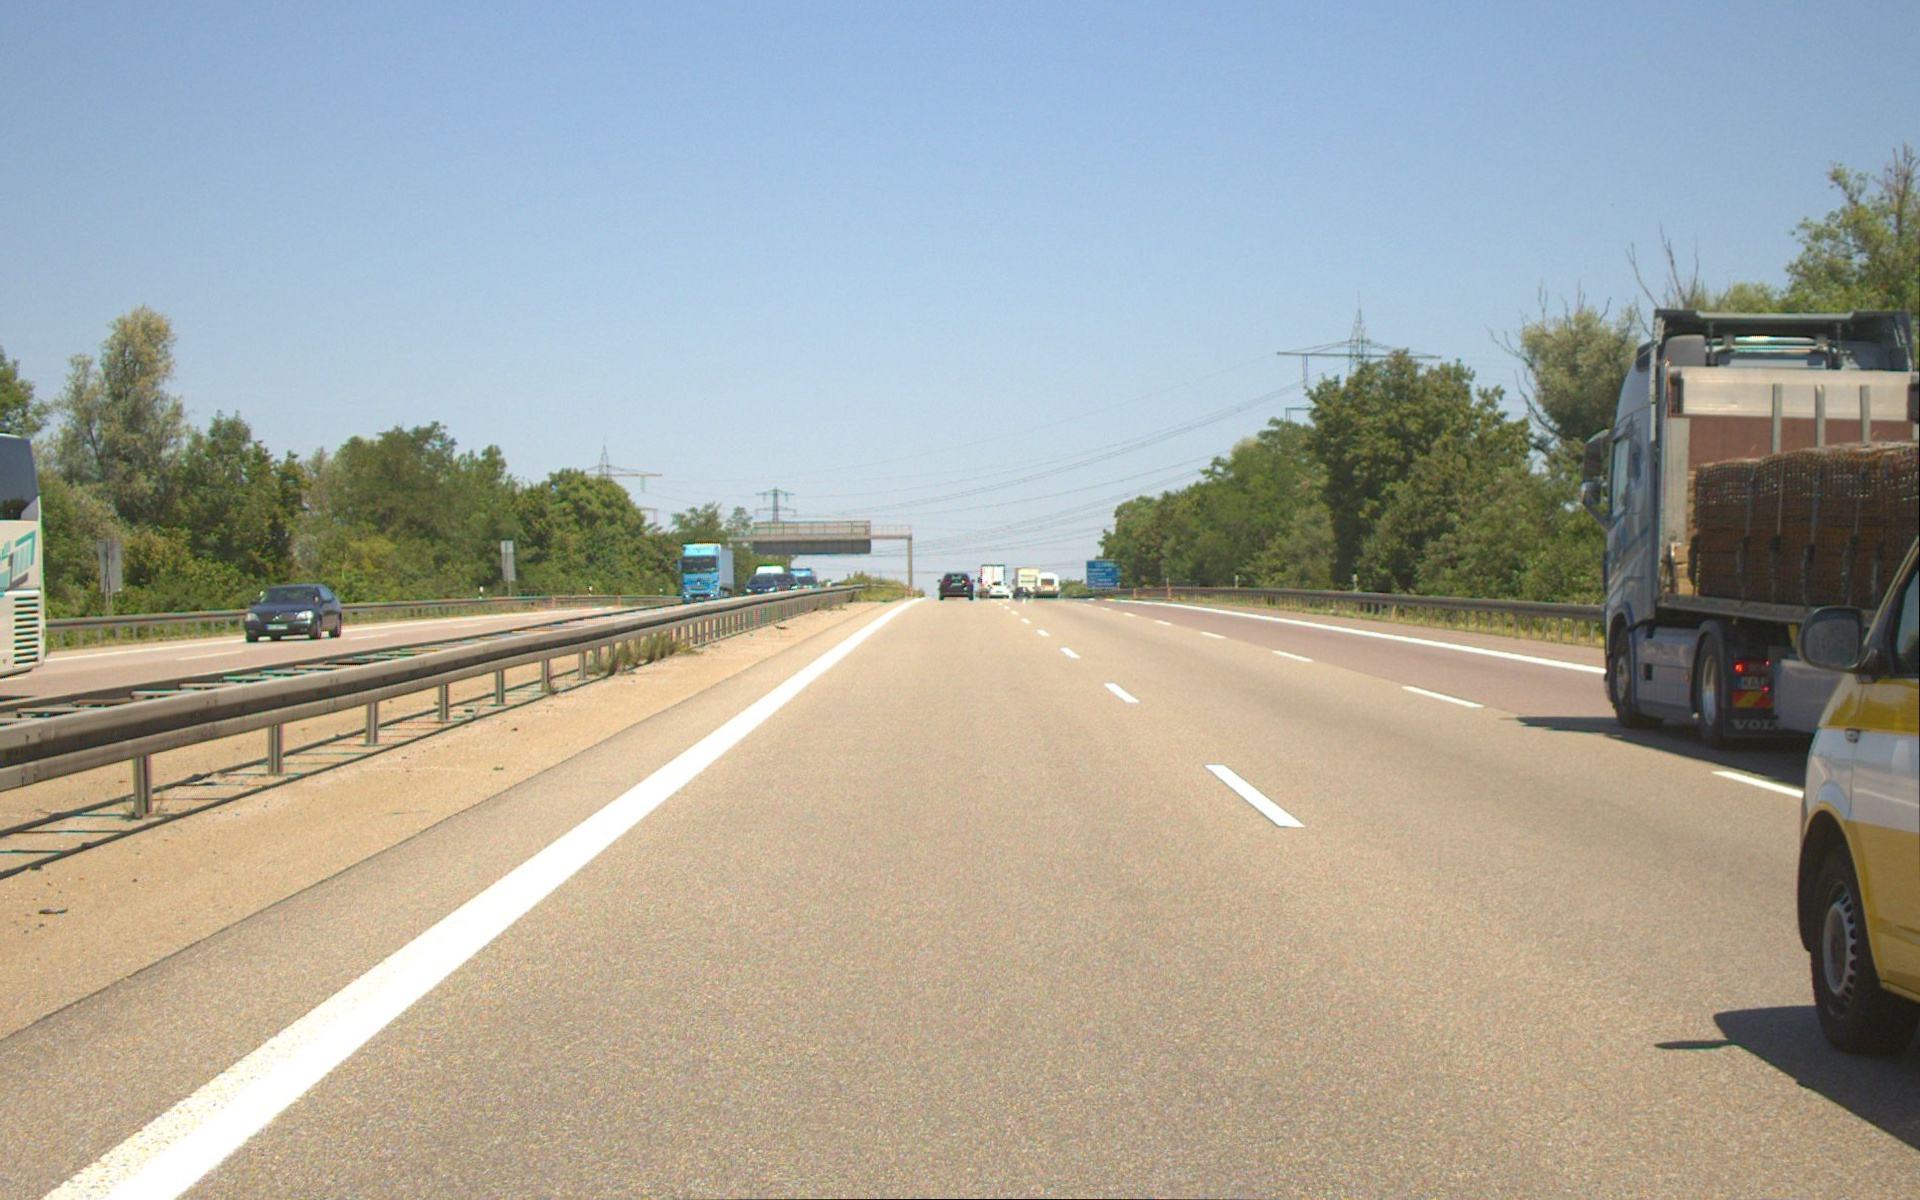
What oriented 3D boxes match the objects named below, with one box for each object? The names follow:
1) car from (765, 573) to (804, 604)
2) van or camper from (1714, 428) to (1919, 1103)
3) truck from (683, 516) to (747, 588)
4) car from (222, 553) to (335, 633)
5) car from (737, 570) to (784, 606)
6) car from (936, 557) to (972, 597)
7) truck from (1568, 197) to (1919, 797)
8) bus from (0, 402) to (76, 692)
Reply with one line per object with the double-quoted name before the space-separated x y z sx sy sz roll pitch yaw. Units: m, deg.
"car" -10.015 -0.667 196.696 1.993 1.684 4.408 -1 1 0
"van or camper" 3.711 0.479 9.730 1.993 1.903 4.971 1 1 0
"truck" -17.114 -3.294 240.901 3.225 4.704 16.860 -3 0 -1
"car" -17.596 -0.199 88.921 1.993 1.866 4.582 -4 1 -1
"car" -10.169 -0.615 175.397 1.993 1.599 4.600 -6 1 0
"car" -0.297 -1.189 179.037 1.791 2.007 3.887 1 0 0
"truck" 7.743 -0.675 26.428 2.969 3.944 16.613 1 0 -1
"bus" -13.143 -0.561 39.233 2.694 3.571 12.794 -3 1 0
